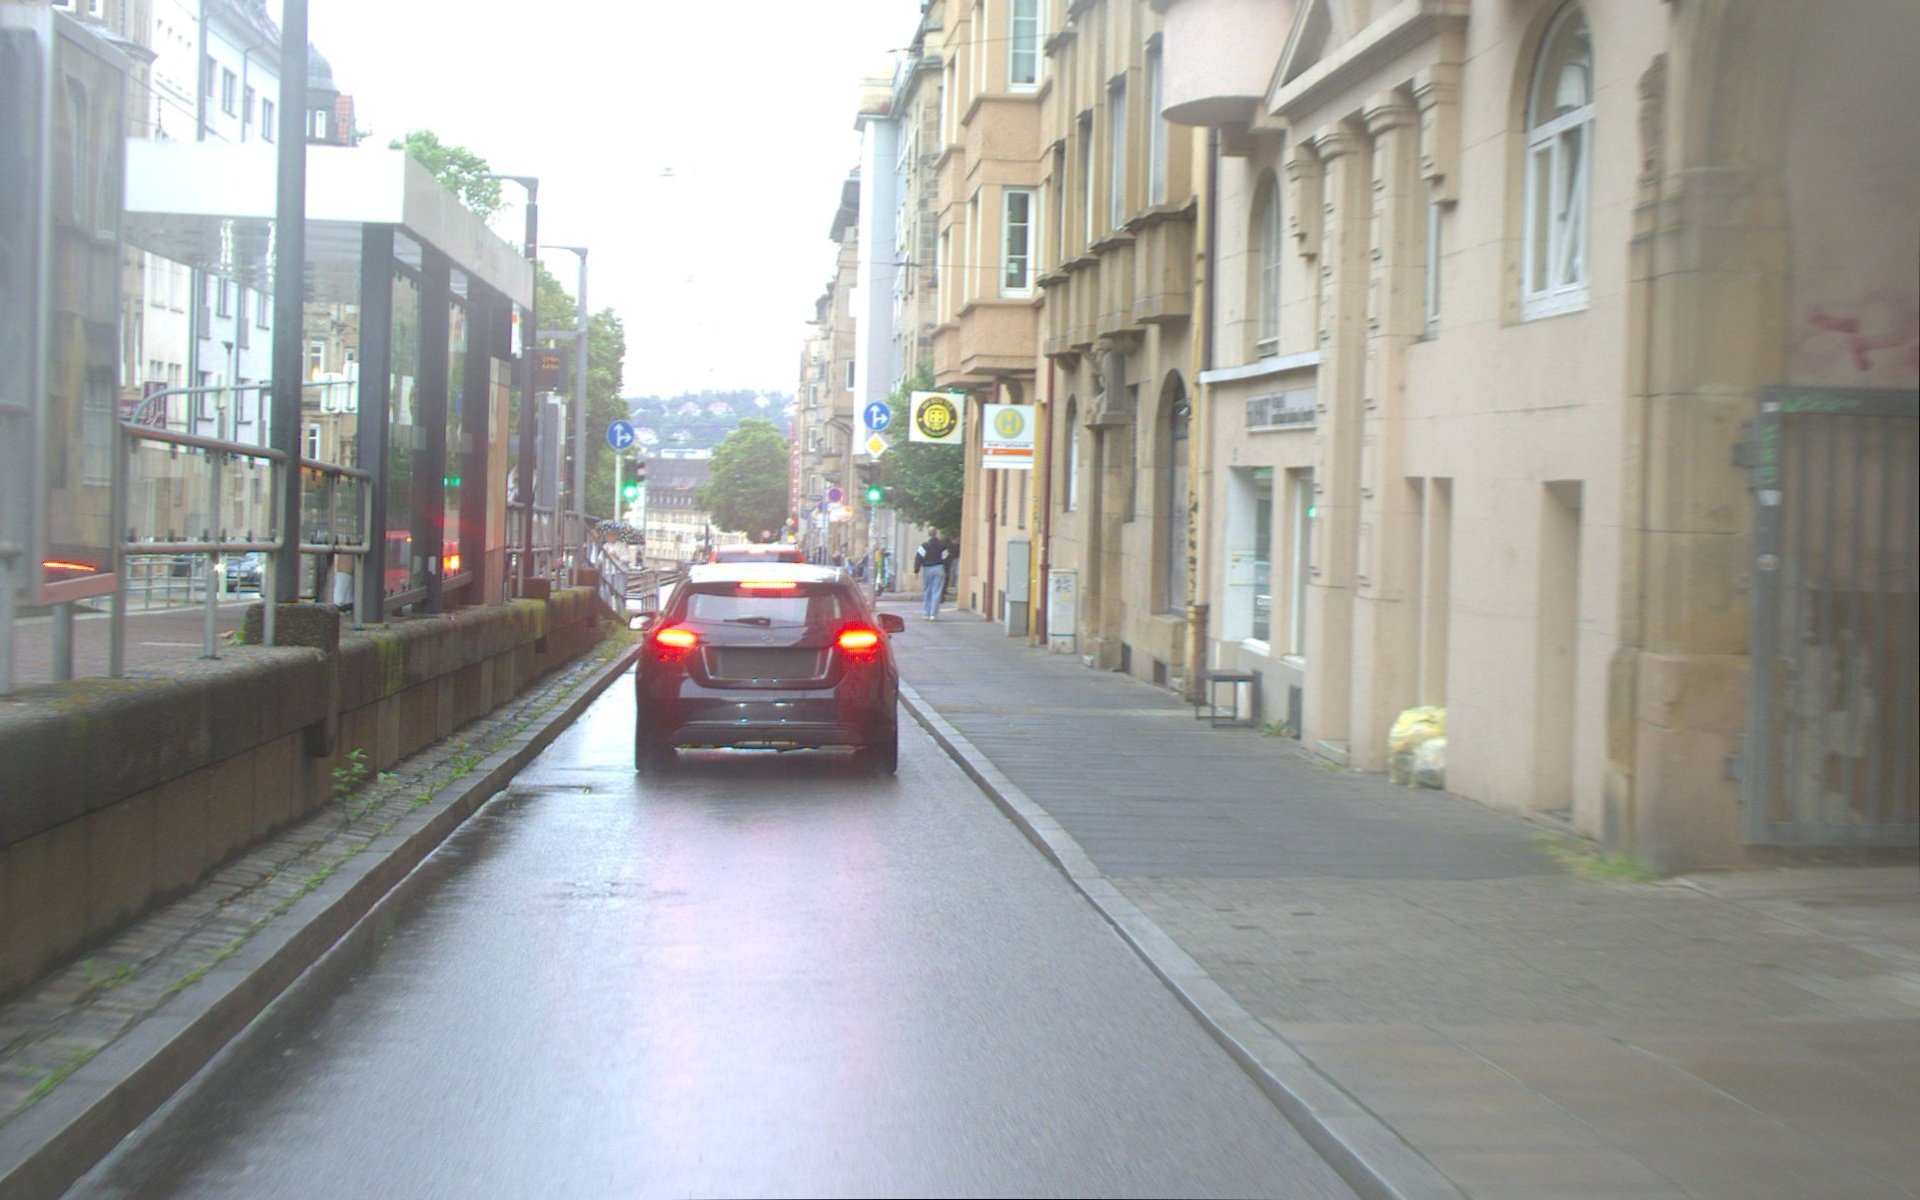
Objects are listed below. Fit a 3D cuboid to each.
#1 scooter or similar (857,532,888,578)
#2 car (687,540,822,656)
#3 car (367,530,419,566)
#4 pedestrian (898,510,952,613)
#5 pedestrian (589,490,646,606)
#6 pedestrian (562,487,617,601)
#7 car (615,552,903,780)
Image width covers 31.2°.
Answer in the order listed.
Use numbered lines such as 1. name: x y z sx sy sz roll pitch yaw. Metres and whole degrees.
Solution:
1. scooter or similar: -2.346 -1.204 92.017 0.637 1.206 1.553 -1 1 -8
2. car: -2.699 -0.063 45.767 1.649 1.447 4.000 1 1 -2
3. car: -24.928 -2.290 151.246 1.722 1.536 3.934 -1 1 -2
4. pedestrian: -0.647 -0.716 63.233 0.899 1.834 0.968 -3 1 -1
5. pedestrian: -5.971 -0.910 59.976 0.926 2.007 0.947 1 1 -3
6. pedestrian: -6.582 -0.994 61.059 0.897 2.007 0.947 1 1 -3
7. car: -1.401 0.403 24.436 1.866 1.447 4.001 1 1 -3
